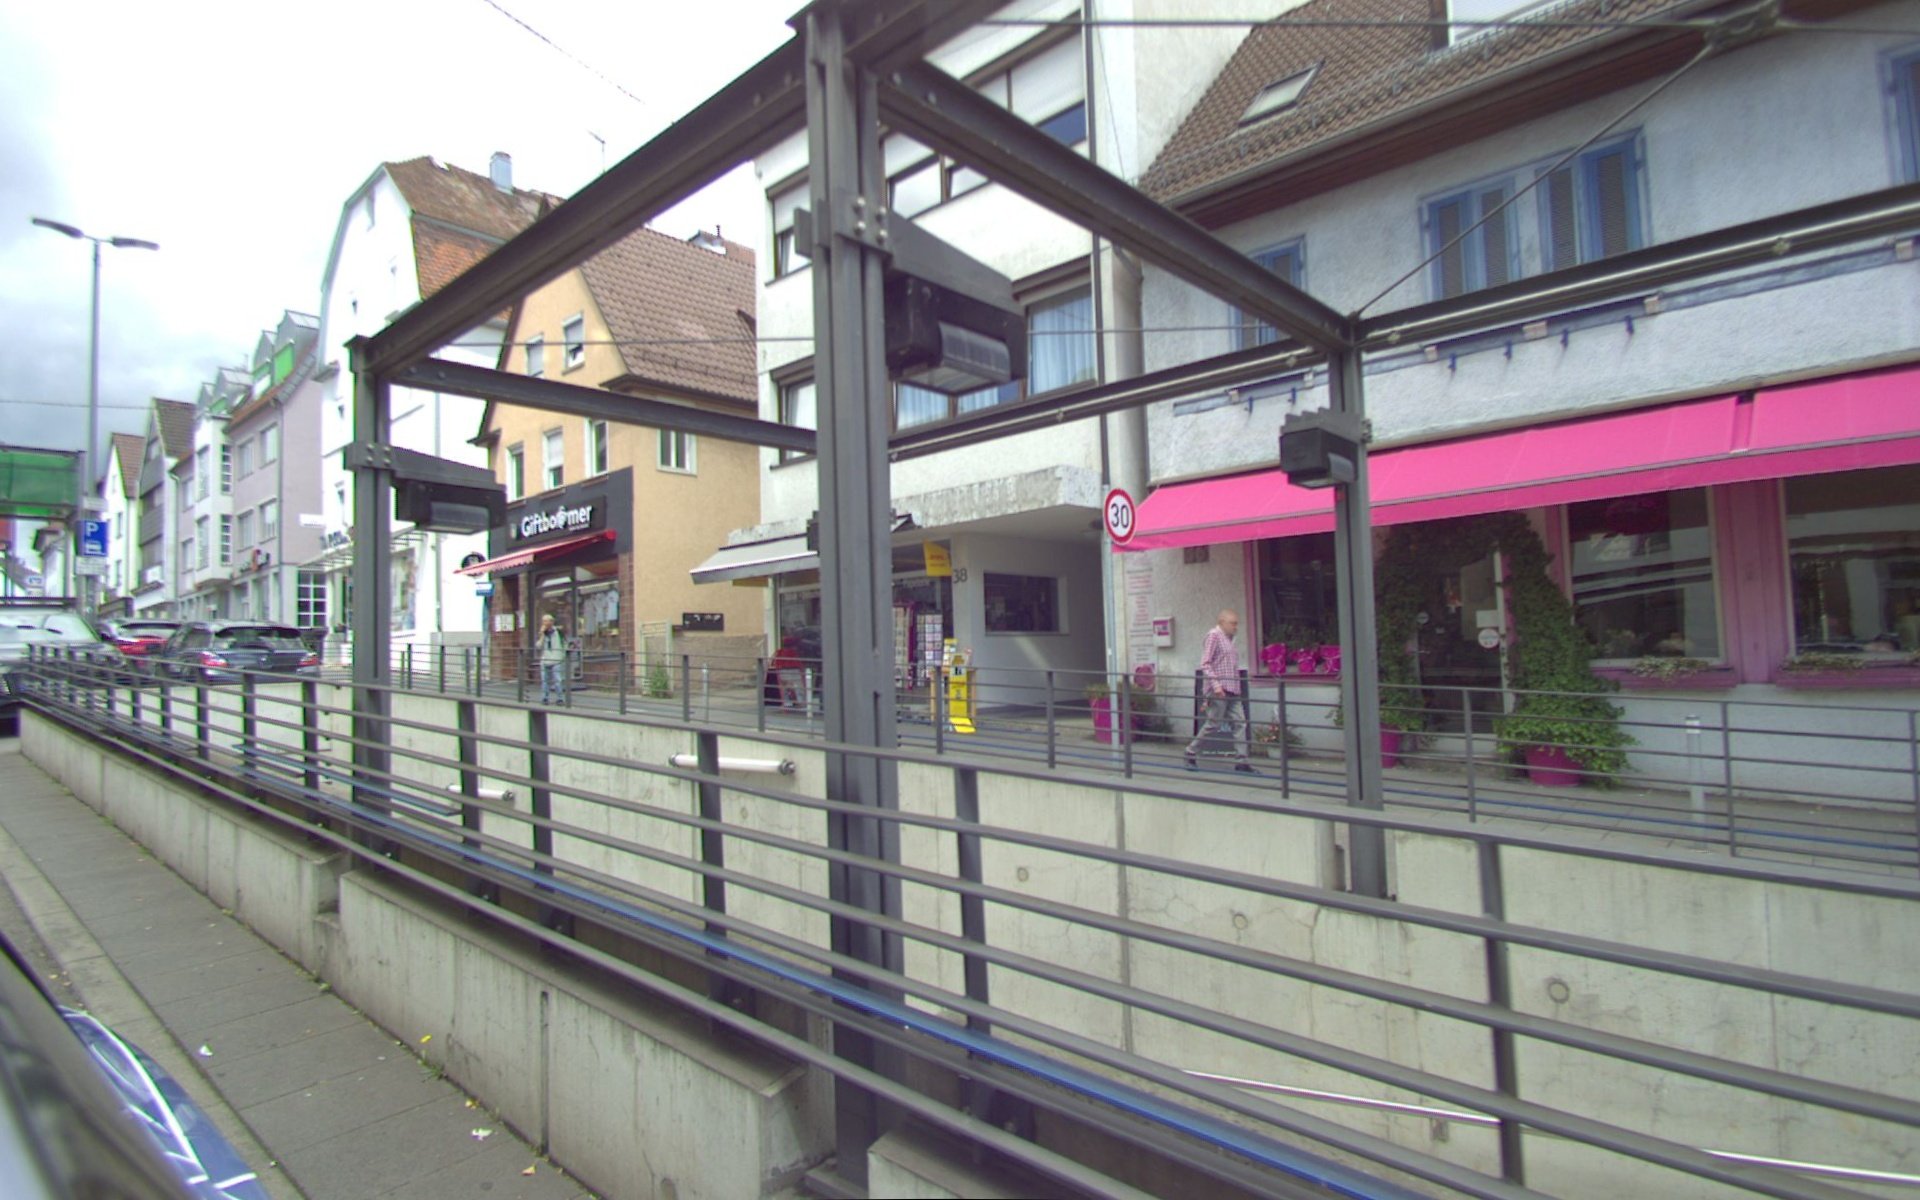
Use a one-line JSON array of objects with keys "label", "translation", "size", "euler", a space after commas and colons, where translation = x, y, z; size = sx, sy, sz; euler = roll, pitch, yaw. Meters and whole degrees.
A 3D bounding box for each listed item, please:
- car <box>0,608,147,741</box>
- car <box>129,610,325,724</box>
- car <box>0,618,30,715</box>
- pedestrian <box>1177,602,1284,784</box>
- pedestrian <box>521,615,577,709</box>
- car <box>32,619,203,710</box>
[{"label": "car", "translation": [-12.899, 0.939, 13.804], "size": [4.427, 1.578, 1.974], "euler": [-2, -1, 39]}, {"label": "car", "translation": [-11.589, 0.969, 15.911], "size": [3.896, 1.559, 1.681], "euler": [-2, -1, 41]}, {"label": "car", "translation": [-17.646, 1.150, 17.774], "size": [3.531, 1.622, 1.556], "euler": [-2, -1, 41]}, {"label": "pedestrian", "translation": [2.747, 0.912, 10.290], "size": [0.825, 1.753, 0.686], "euler": [-2, -3, 43]}, {"label": "pedestrian", "translation": [-7.766, 1.157, 19.124], "size": [0.663, 1.727, 0.739], "euler": [-2, -3, 42]}, {"label": "car", "translation": [-17.020, 1.211, 20.357], "size": [4.492, 1.601, 1.973], "euler": [-2, -1, 41]}]
